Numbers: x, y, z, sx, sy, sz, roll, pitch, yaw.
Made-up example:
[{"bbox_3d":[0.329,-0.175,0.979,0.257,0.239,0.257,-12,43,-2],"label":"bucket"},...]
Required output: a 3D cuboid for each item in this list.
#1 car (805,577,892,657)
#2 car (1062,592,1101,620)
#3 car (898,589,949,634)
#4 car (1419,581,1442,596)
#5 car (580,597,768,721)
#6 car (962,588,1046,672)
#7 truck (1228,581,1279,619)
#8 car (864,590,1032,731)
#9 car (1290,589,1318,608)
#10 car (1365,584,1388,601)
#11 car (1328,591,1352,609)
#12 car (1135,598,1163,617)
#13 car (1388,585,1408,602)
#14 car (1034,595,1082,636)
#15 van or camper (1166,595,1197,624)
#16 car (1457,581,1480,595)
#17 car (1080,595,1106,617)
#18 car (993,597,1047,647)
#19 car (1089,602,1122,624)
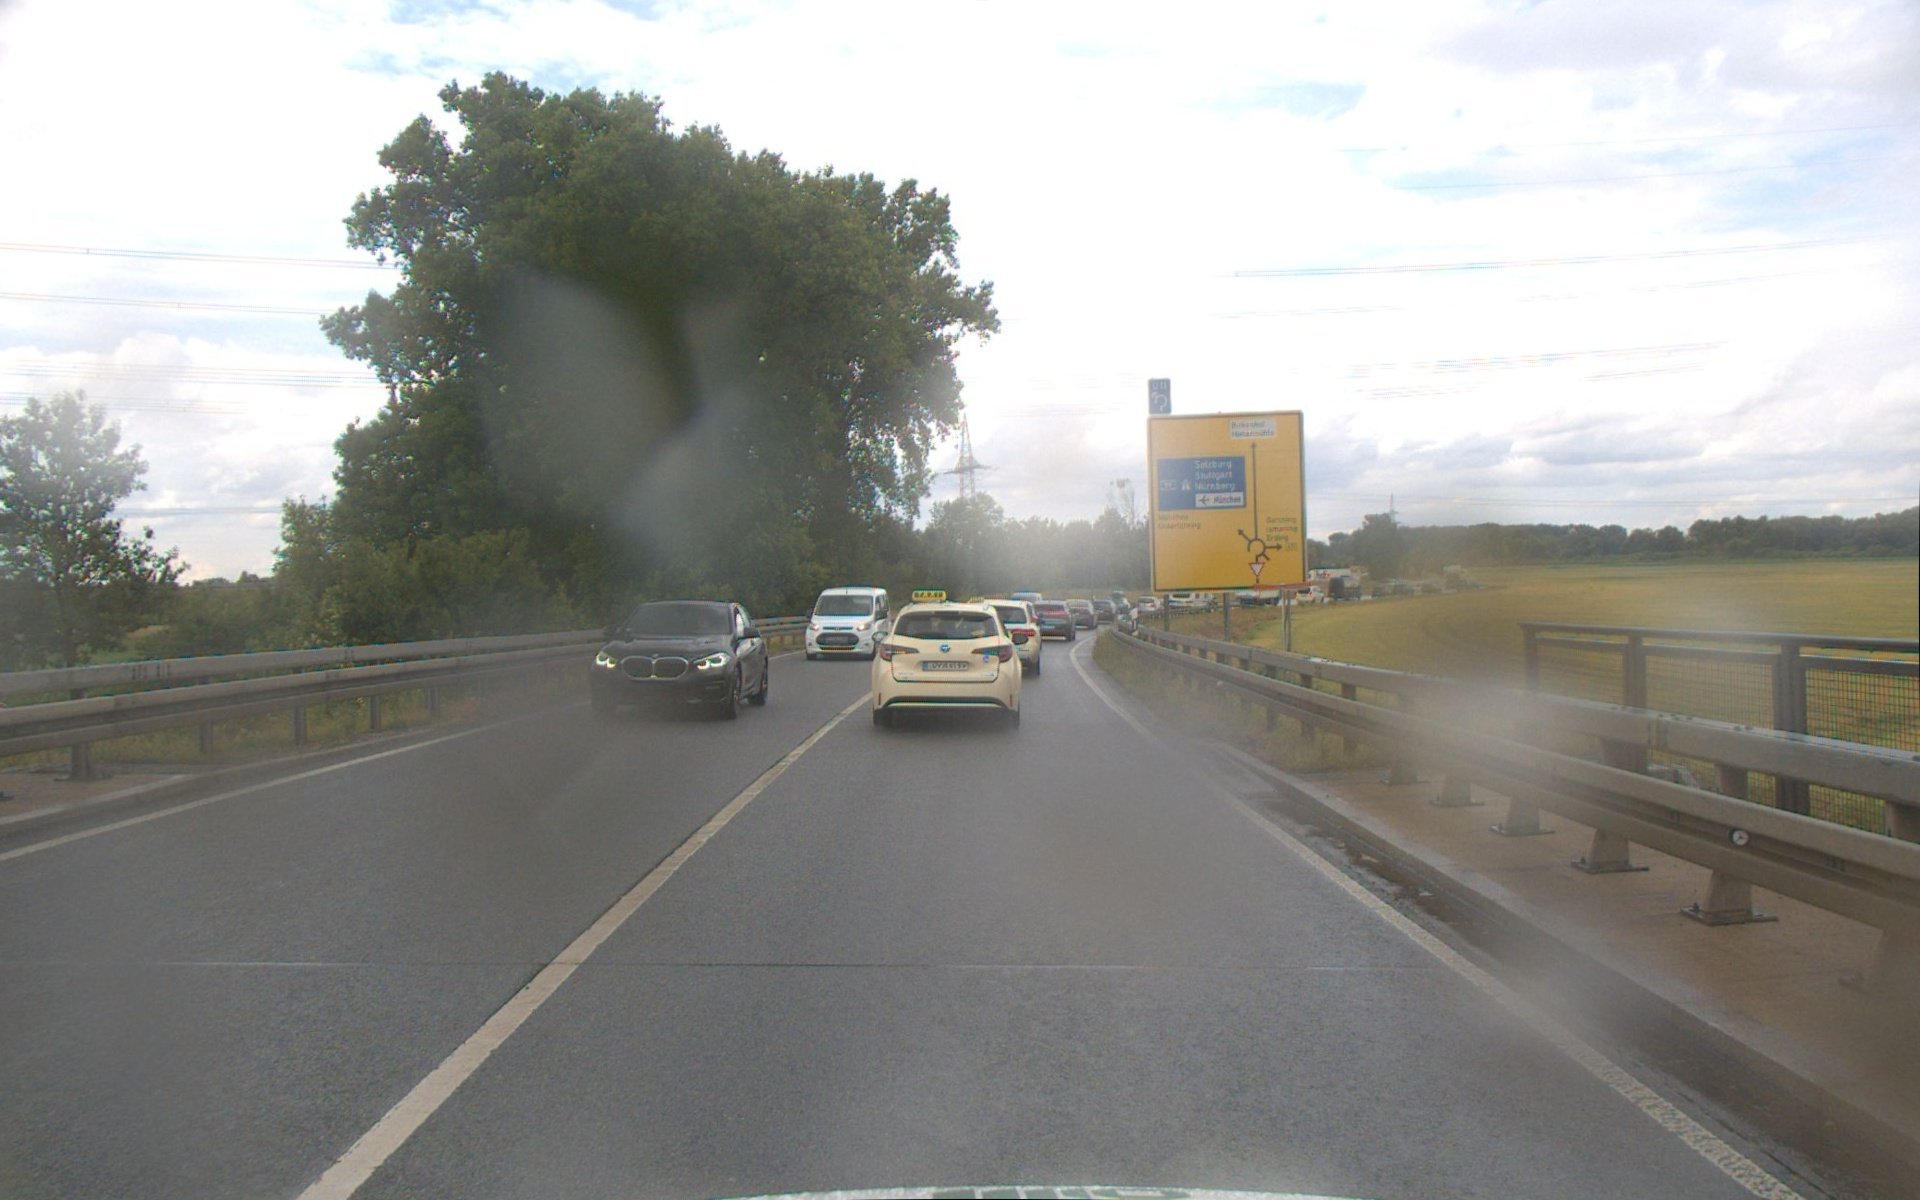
[{"bbox_3d":[-2.799,0.388,42.445,1.823,1.925,4.491,0,1,1],"label":"car"},{"bbox_3d":[6.362,0.343,86.605,1.625,1.434,3.907,0,-1,10],"label":"car"},{"bbox_3d":[-1.310,0.390,60.320,1.576,1.512,4.002,0,1,3],"label":"car"},{"bbox_3d":[63.633,-1.548,223.742,1.958,2.049,3.988,0,-1,33],"label":"car"},{"bbox_3d":[-3.572,0.694,21.387,1.662,1.424,4.331,0,0,0],"label":"car"},{"bbox_3d":[0.930,0.577,33.442,1.545,1.600,3.683,0,0,4],"label":"car"},{"bbox_3d":[28.918,0.037,162.552,3.078,3.624,7.515,0,-1,25],"label":"truck"},{"bbox_3d":[-0.102,0.676,20.497,1.866,1.564,4.162,0,0,1],"label":"car"},{"bbox_3d":[37.818,-0.195,181.745,2.123,2.049,3.997,0,-1,25],"label":"car"},{"bbox_3d":[51.823,-0.938,205.722,2.181,2.049,3.998,0,-1,24],"label":"car"},{"bbox_3d":[44.252,0.039,192.690,1.954,2.049,3.997,0,-1,25],"label":"car"},{"bbox_3d":[13.704,0.534,119.756,1.451,1.332,3.479,0,0,17],"label":"car"},{"bbox_3d":[56.521,-0.850,213.452,1.954,2.049,3.998,0,-1,24],"label":"car"},{"bbox_3d":[3.766,0.585,63.018,1.630,1.489,3.479,0,0,7],"label":"car"},{"bbox_3d":[18.026,0.755,134.671,1.951,2.293,4.002,0,-1,16],"label":"van or camper"},{"bbox_3d":[74.505,-1.802,242.539,1.736,2.049,3.976,1,1,42],"label":"car"},{"bbox_3d":[10.795,0.476,133.984,1.485,1.751,3.423,0,-1,16],"label":"car"},{"bbox_3d":[1.798,0.661,50.559,1.475,1.462,3.355,1,0,-1],"label":"car"},{"bbox_3d":[8.922,0.798,101.487,1.451,1.332,3.479,0,0,15],"label":"car"}]
